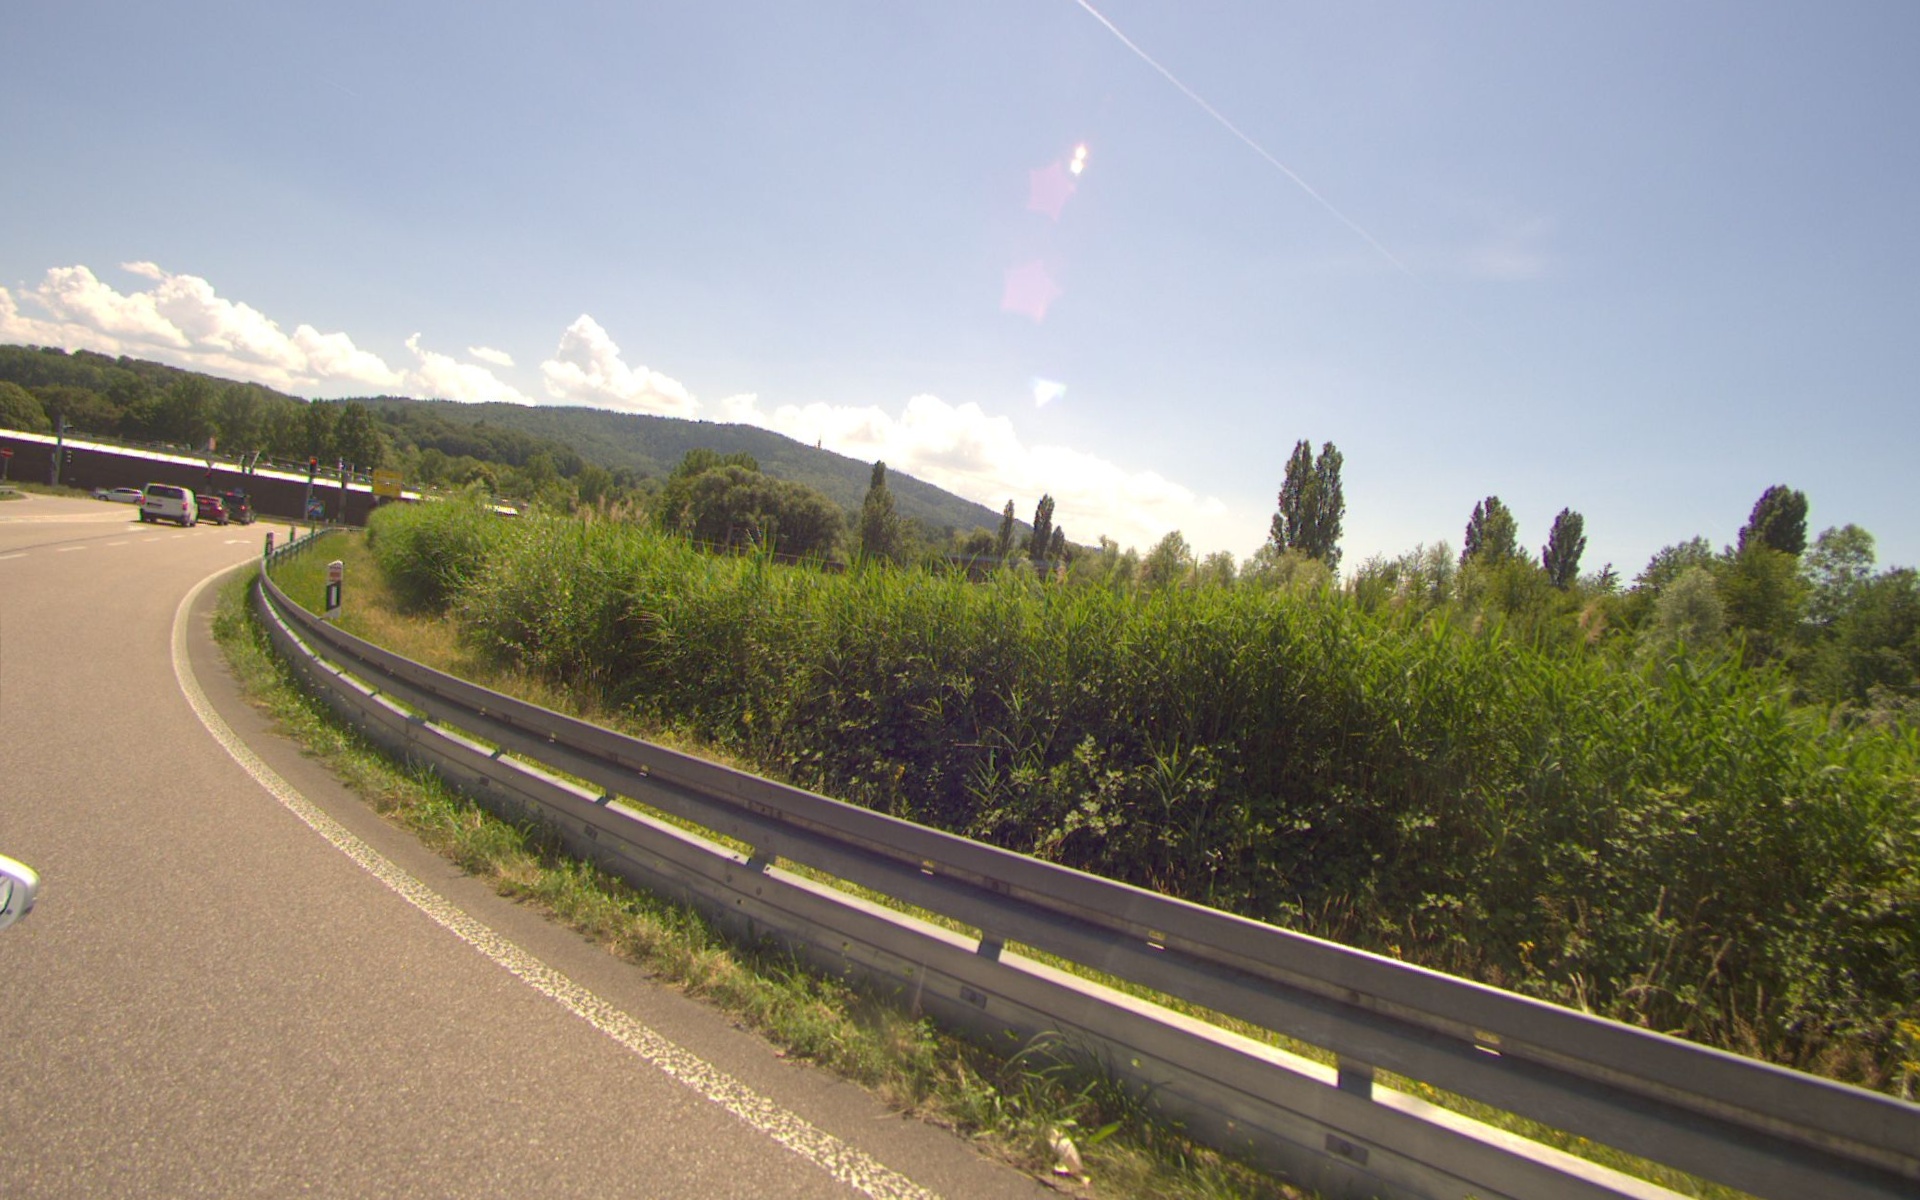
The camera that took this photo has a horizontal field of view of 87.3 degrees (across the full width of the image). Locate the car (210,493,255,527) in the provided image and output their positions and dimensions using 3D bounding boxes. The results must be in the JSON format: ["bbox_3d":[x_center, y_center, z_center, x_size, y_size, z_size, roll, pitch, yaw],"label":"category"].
[{"bbox_3d":[-49.850,-6.153,68.984,1.978,2.039,3.967,5,1,-31],"label":"car"}]

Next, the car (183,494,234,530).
[{"bbox_3d":[-45.562,-5.322,61.079,1.978,1.835,3.967,5,1,-31],"label":"car"}]

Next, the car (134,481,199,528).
[{"bbox_3d":[-39.664,-4.750,50.363,1.857,1.988,3.966,8,0,-31],"label":"car"}]
